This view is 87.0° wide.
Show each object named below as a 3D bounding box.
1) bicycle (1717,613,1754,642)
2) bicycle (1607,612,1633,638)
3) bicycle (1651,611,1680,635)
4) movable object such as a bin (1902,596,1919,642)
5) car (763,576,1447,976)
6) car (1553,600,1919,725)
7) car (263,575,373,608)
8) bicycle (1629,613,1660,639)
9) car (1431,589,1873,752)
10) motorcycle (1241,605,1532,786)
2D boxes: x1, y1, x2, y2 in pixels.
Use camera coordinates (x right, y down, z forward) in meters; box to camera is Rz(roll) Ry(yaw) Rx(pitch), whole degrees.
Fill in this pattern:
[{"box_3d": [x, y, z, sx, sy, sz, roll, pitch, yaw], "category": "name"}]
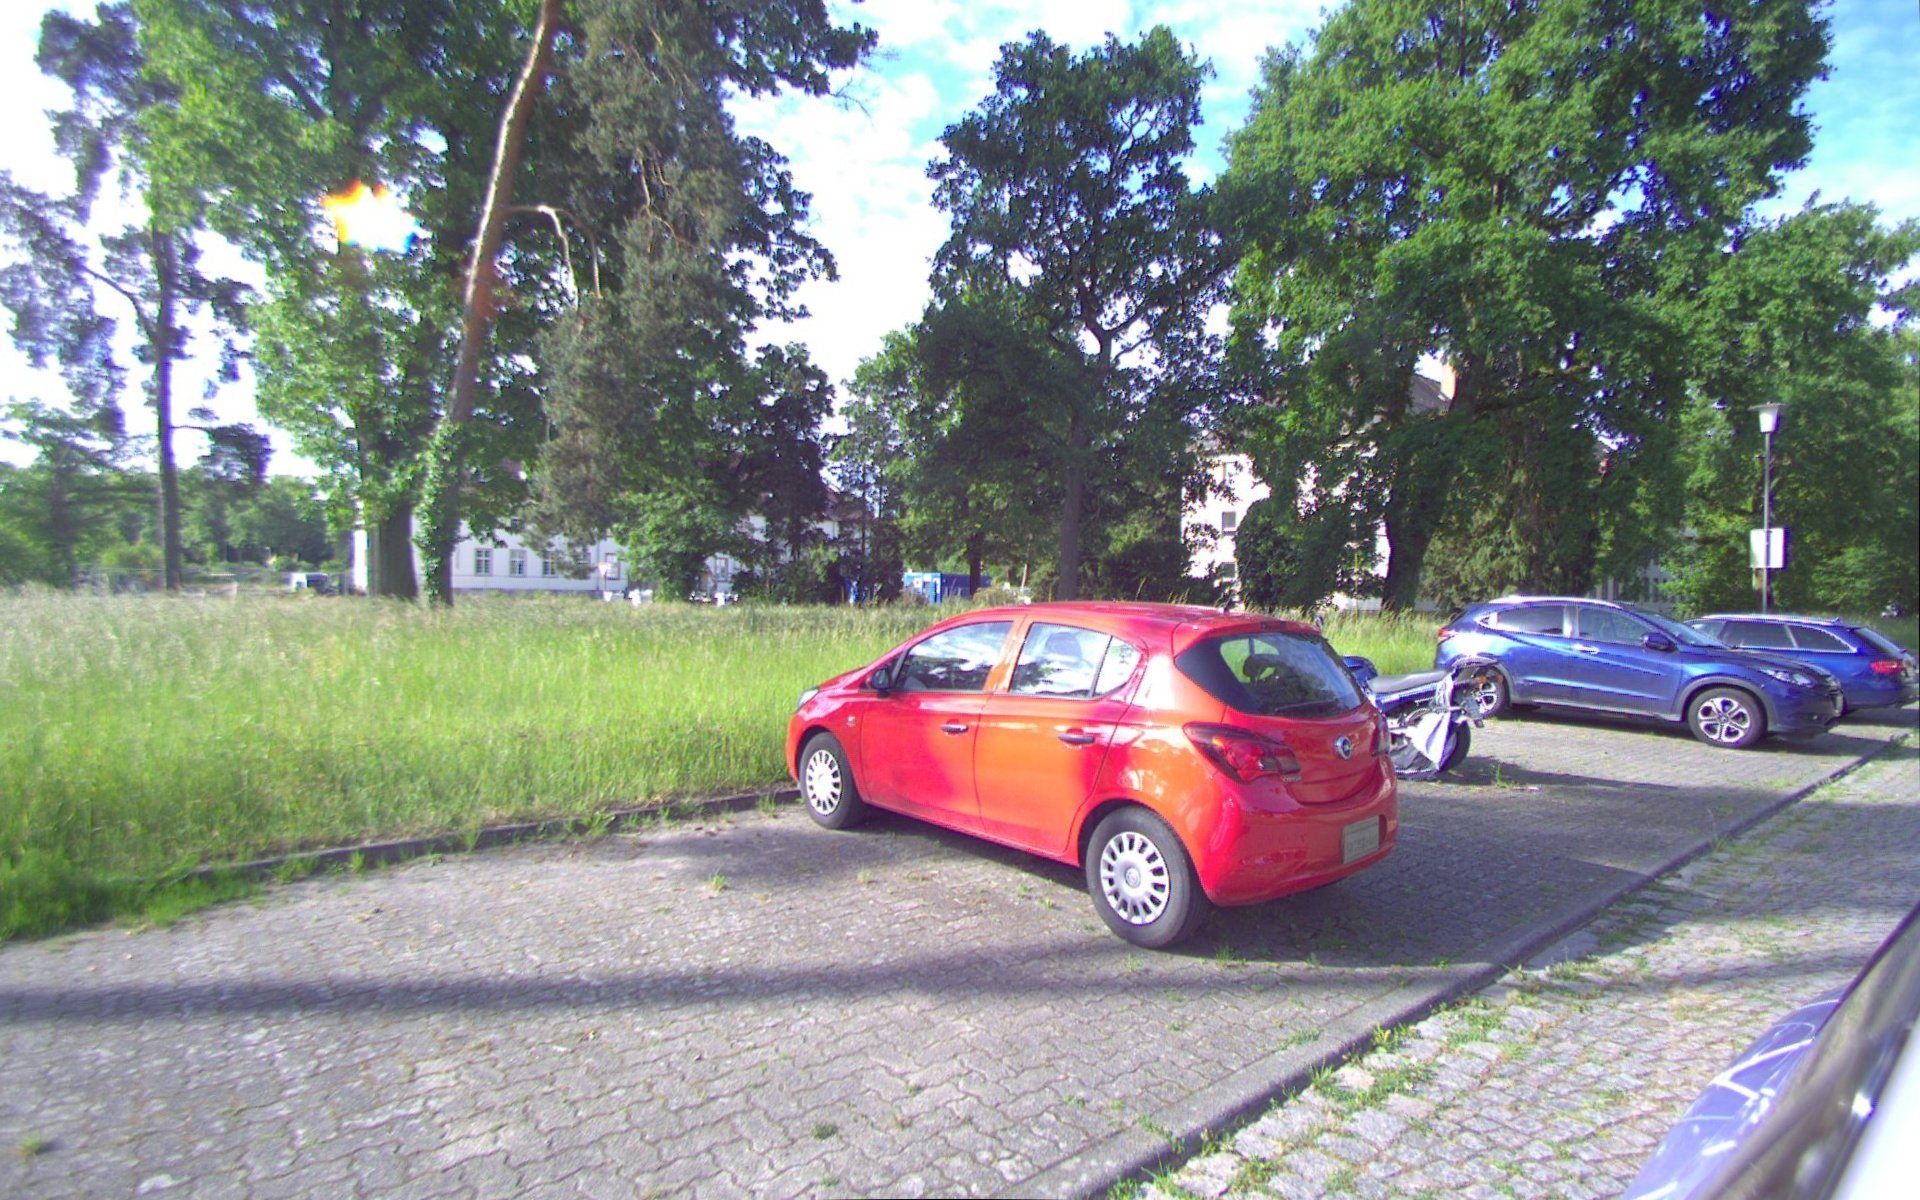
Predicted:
[{"box_3d": [29.307, 1.032, 38.242, 1.231, 1.029, 0.711, 1, 0, -33], "category": "bicycle"}, {"box_3d": [27.021, 1.027, 41.432, 1.008, 1.029, 0.619, 1, 0, -38], "category": "bicycle"}, {"box_3d": [30.663, 0.990, 43.992, 0.700, 1.029, 1.023, 1, 0, 12], "category": "bicycle"}, {"box_3d": [38.923, 0.777, 37.889, 1.959, 1.781, 4.949, 1, 0, -26], "category": "movable object such as a bin"}, {"box_3d": [0.530, 0.651, 5.912, 1.616, 1.497, 3.835, 1, 1, -40], "category": "car"}, {"box_3d": [11.817, 0.823, 15.417, 1.682, 1.425, 4.463, 1, 2, -37], "category": "car"}, {"box_3d": [-43.744, -0.604, 69.147, 5.888, 2.199, 2.381, 0, 0, -16], "category": "car"}, {"box_3d": [27.786, 1.039, 41.088, 1.007, 1.029, 0.711, 1, 0, -33], "category": "bicycle"}, {"box_3d": [8.277, 0.699, 12.431, 1.721, 1.611, 4.185, 1, 0, -40], "category": "car"}, {"box_3d": [3.726, 0.760, 9.066, 0.713, 1.336, 2.304, 1, 1, -40], "category": "motorcycle"}]
